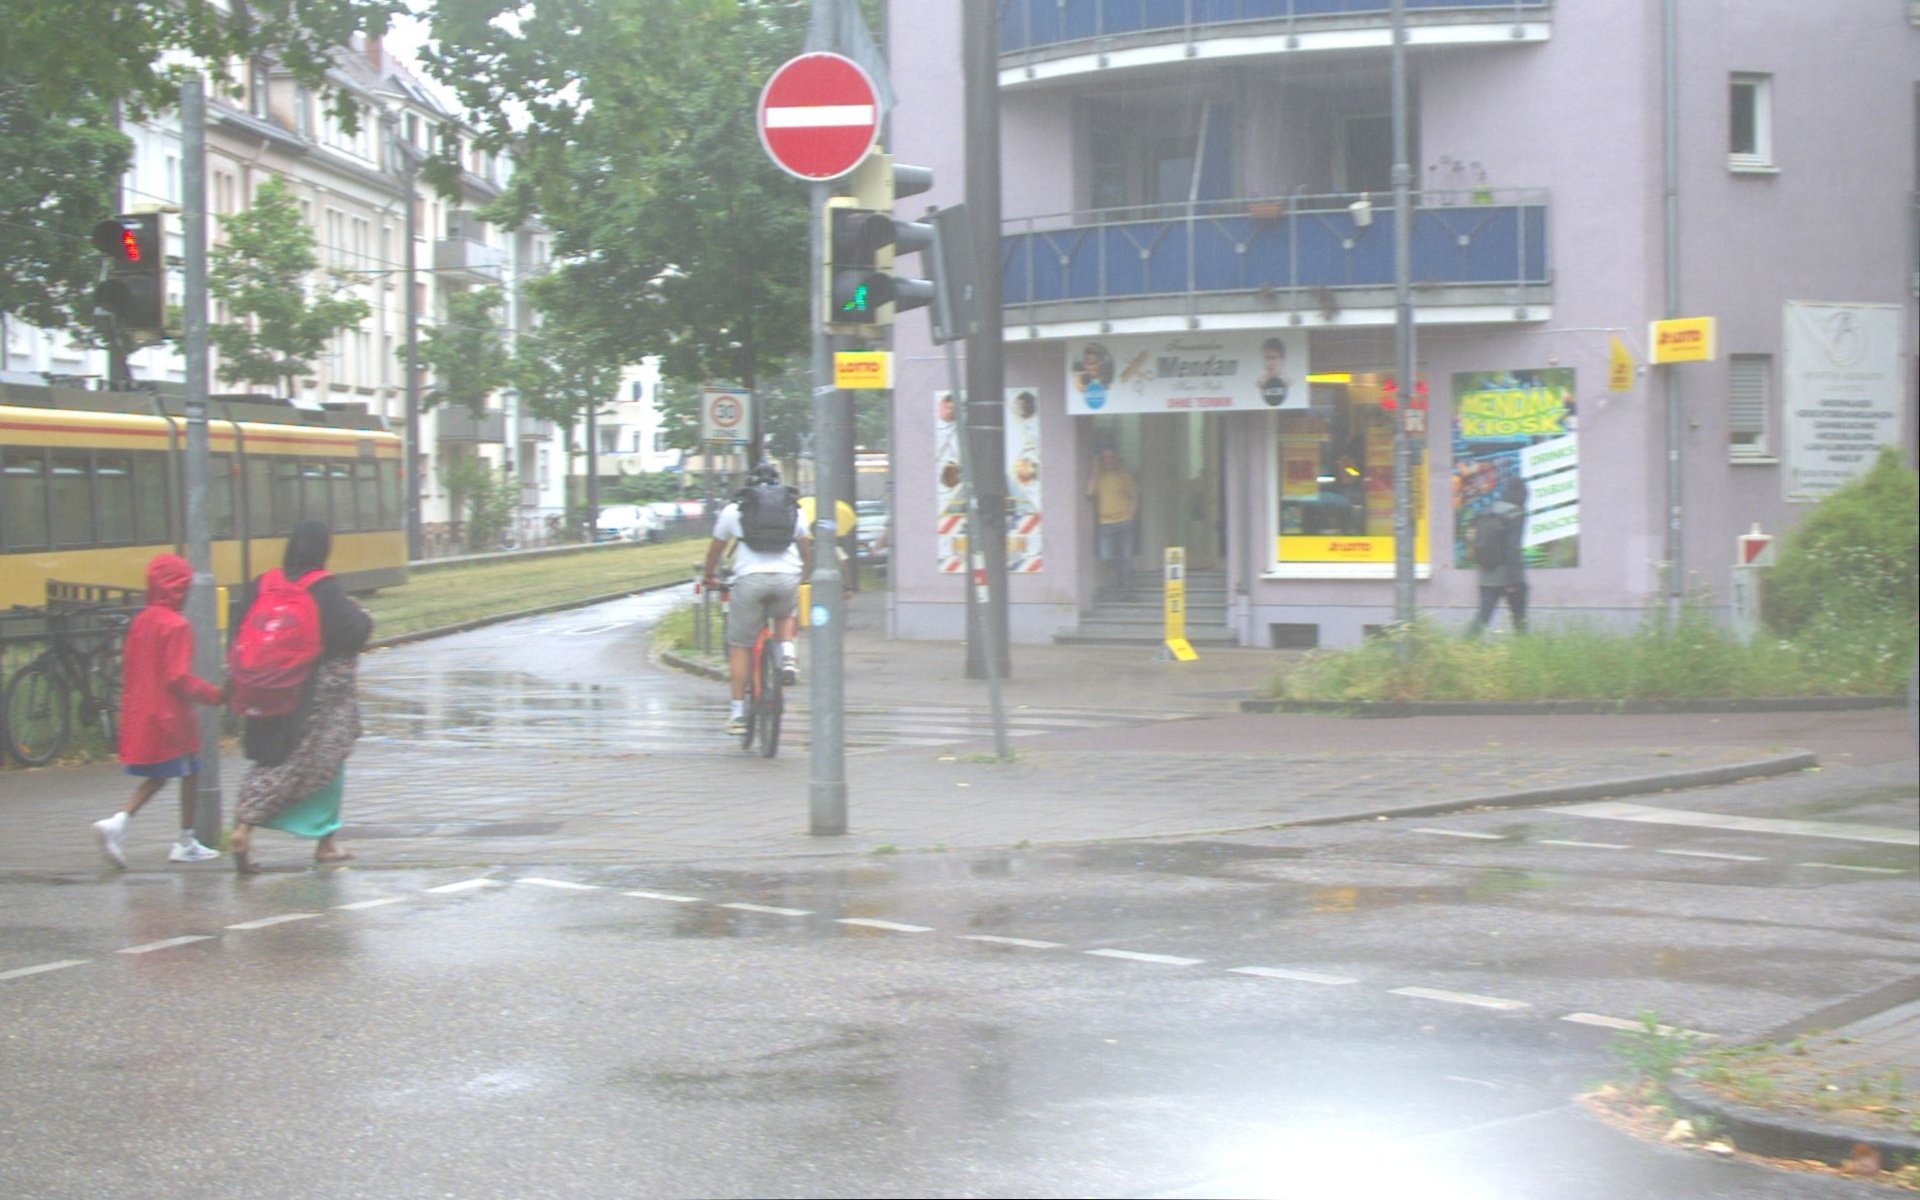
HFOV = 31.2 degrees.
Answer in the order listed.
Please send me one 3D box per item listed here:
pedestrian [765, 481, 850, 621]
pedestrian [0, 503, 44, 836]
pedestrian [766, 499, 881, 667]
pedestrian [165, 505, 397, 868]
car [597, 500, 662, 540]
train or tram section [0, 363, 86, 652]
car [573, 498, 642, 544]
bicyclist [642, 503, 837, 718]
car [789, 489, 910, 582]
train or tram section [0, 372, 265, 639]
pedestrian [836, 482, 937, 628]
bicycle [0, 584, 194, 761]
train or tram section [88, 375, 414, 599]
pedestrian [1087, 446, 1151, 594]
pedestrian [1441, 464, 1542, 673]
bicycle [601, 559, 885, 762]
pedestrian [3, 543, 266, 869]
[{"bbox_3d":[-1.874,-0.613,42.471,0.953,1.691,0.921,-1,2,2],"label":"pedestrian"},{"bbox_3d":[-4.844,0.322,15.888,0.876,1.520,1.065,-1,2,2],"label":"pedestrian"},{"bbox_3d":[-1.289,-0.167,32.546,0.991,1.554,0.784,-1,2,4],"label":"pedestrian"},{"bbox_3d":[-2.988,0.364,15.179,0.691,1.542,0.761,0,3,17],"label":"pedestrian"},{"bbox_3d":[-11.837,-2.866,123.242,1.993,1.393,4.001,0,2,-1],"label":"car"},{"bbox_3d":[-12.584,-1.035,38.856,2.638,3.357,8.375,0,2,5],"label":"train or tram section"},{"bbox_3d":[-12.013,-2.711,117.451,1.993,1.527,4.001,0,2,-1],"label":"car"},{"bbox_3d":[-1.405,0.044,21.832,0.740,1.305,1.077,-3,3,-38],"label":"bicyclist"},{"bbox_3d":[-2.075,-1.260,65.491,1.994,1.667,4.000,-1,2,2],"label":"car"},{"bbox_3d":[-11.969,-1.304,47.185,2.638,3.339,8.376,0,2,4],"label":"train or tram section"},{"bbox_3d":[-0.916,-0.563,42.586,1.163,1.782,0.894,0,2,-6],"label":"pedestrian"},{"bbox_3d":[-5.722,0.456,22.571,0.445,1.073,1.617,0,2,25],"label":"bicycle"},{"bbox_3d":[-11.384,-1.835,56.319,2.638,3.339,9.987,0,2,4],"label":"train or tram section"},{"bbox_3d":[1.728,-0.873,37.340,0.472,1.596,0.593,1,2,29],"label":"pedestrian"},{"bbox_3d":[4.663,-0.284,30.164,0.642,1.797,0.620,1,3,38],"label":"pedestrian"},{"bbox_3d":[-1.398,0.354,21.807,0.751,1.169,2.041,-3,3,-38],"label":"bicycle"},{"bbox_3d":[-3.691,0.449,15.432,0.672,1.377,1.010,0,3,20],"label":"pedestrian"}]
